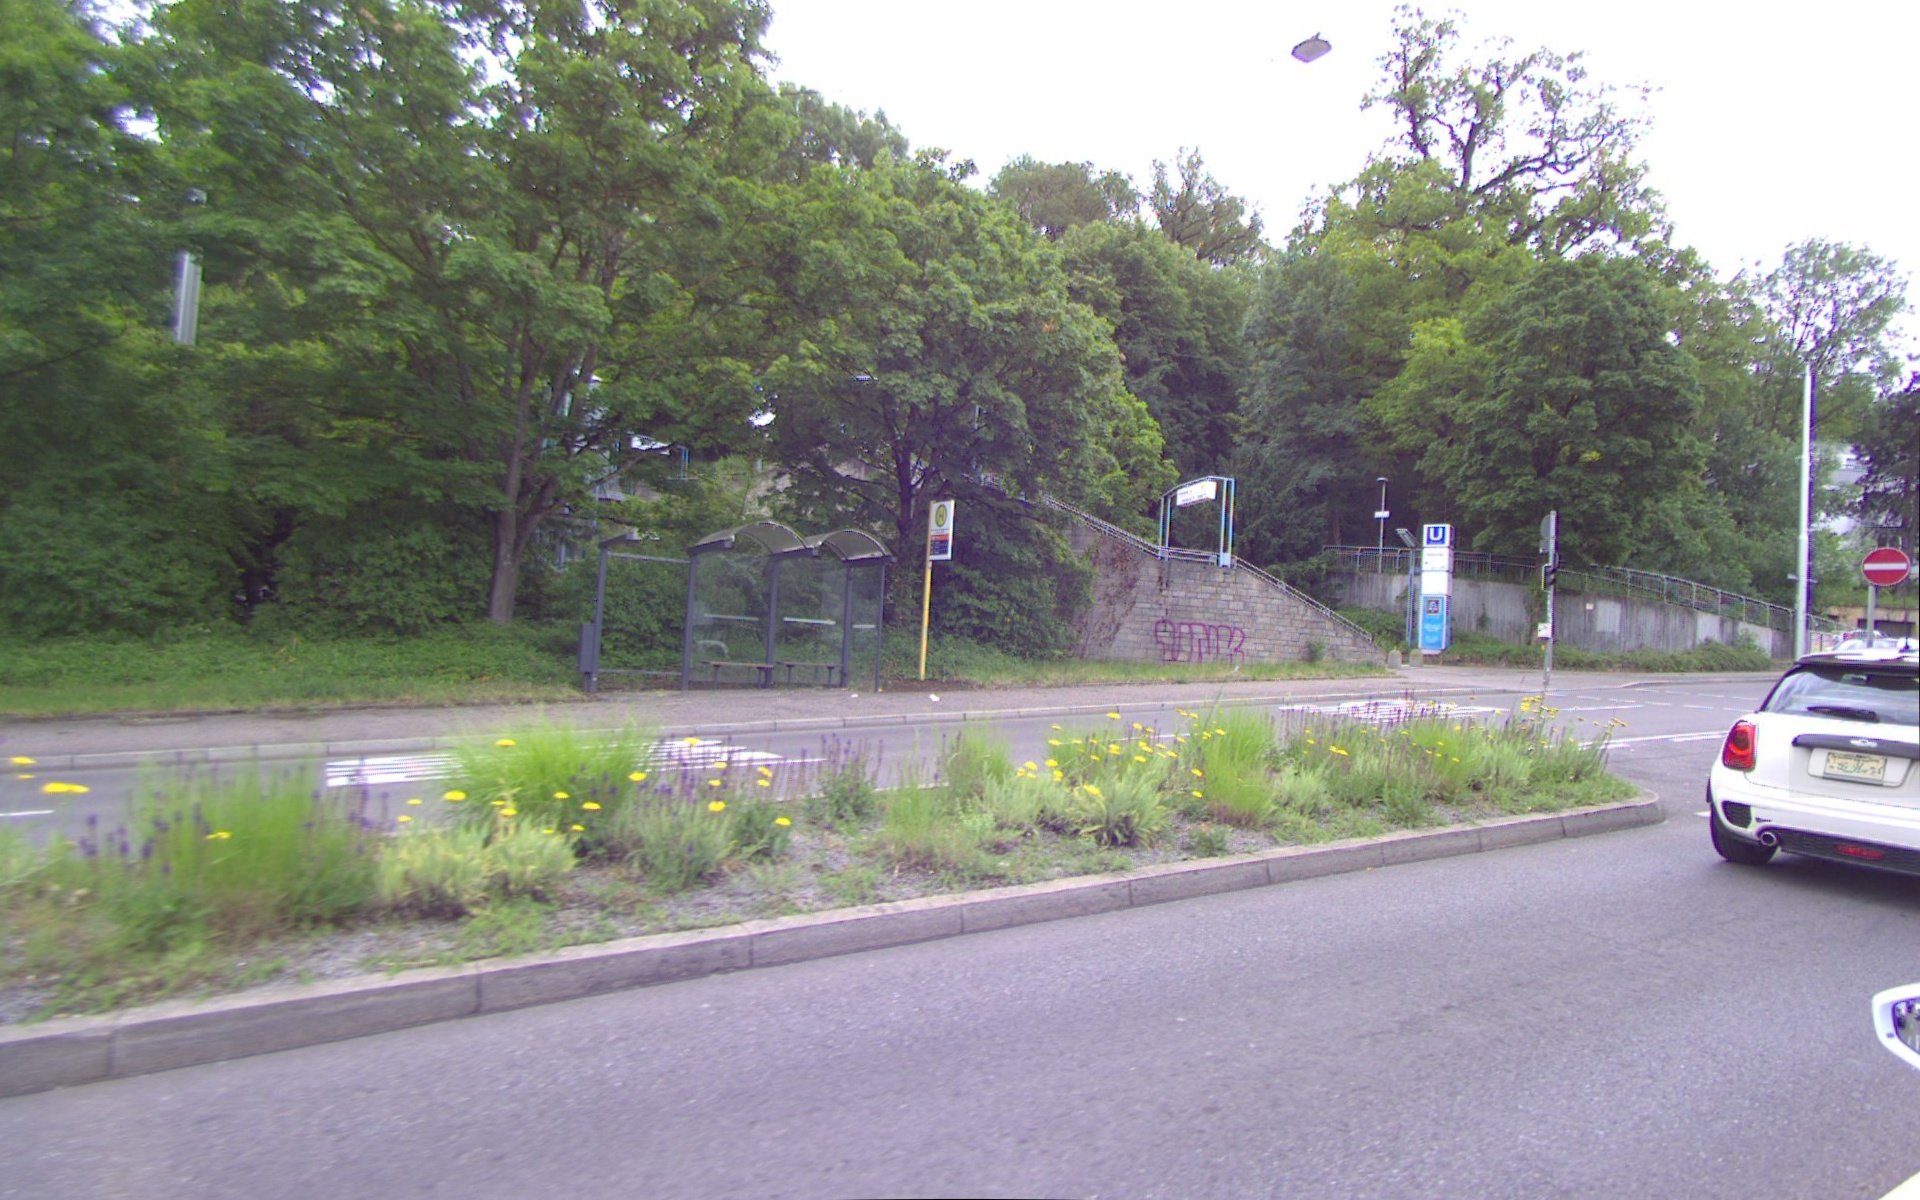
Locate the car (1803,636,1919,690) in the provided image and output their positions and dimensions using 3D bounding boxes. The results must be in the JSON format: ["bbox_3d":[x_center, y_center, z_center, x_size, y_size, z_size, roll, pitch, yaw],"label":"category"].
[{"bbox_3d":[26.011,1.755,28.616,4.556,1.412,1.709,2,-1,-31],"label":"car"}]

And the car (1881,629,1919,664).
[{"bbox_3d":[44.706,2.131,45.742,4.076,1.560,1.589,0,-1,44],"label":"car"}]

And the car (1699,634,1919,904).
[{"bbox_3d":[6.480,0.949,6.415,3.525,1.411,1.620,2,-2,-31],"label":"car"}]

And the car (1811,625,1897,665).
[{"bbox_3d":[40.102,1.987,45.134,2.667,1.540,1.558,4,1,37],"label":"car"}]
